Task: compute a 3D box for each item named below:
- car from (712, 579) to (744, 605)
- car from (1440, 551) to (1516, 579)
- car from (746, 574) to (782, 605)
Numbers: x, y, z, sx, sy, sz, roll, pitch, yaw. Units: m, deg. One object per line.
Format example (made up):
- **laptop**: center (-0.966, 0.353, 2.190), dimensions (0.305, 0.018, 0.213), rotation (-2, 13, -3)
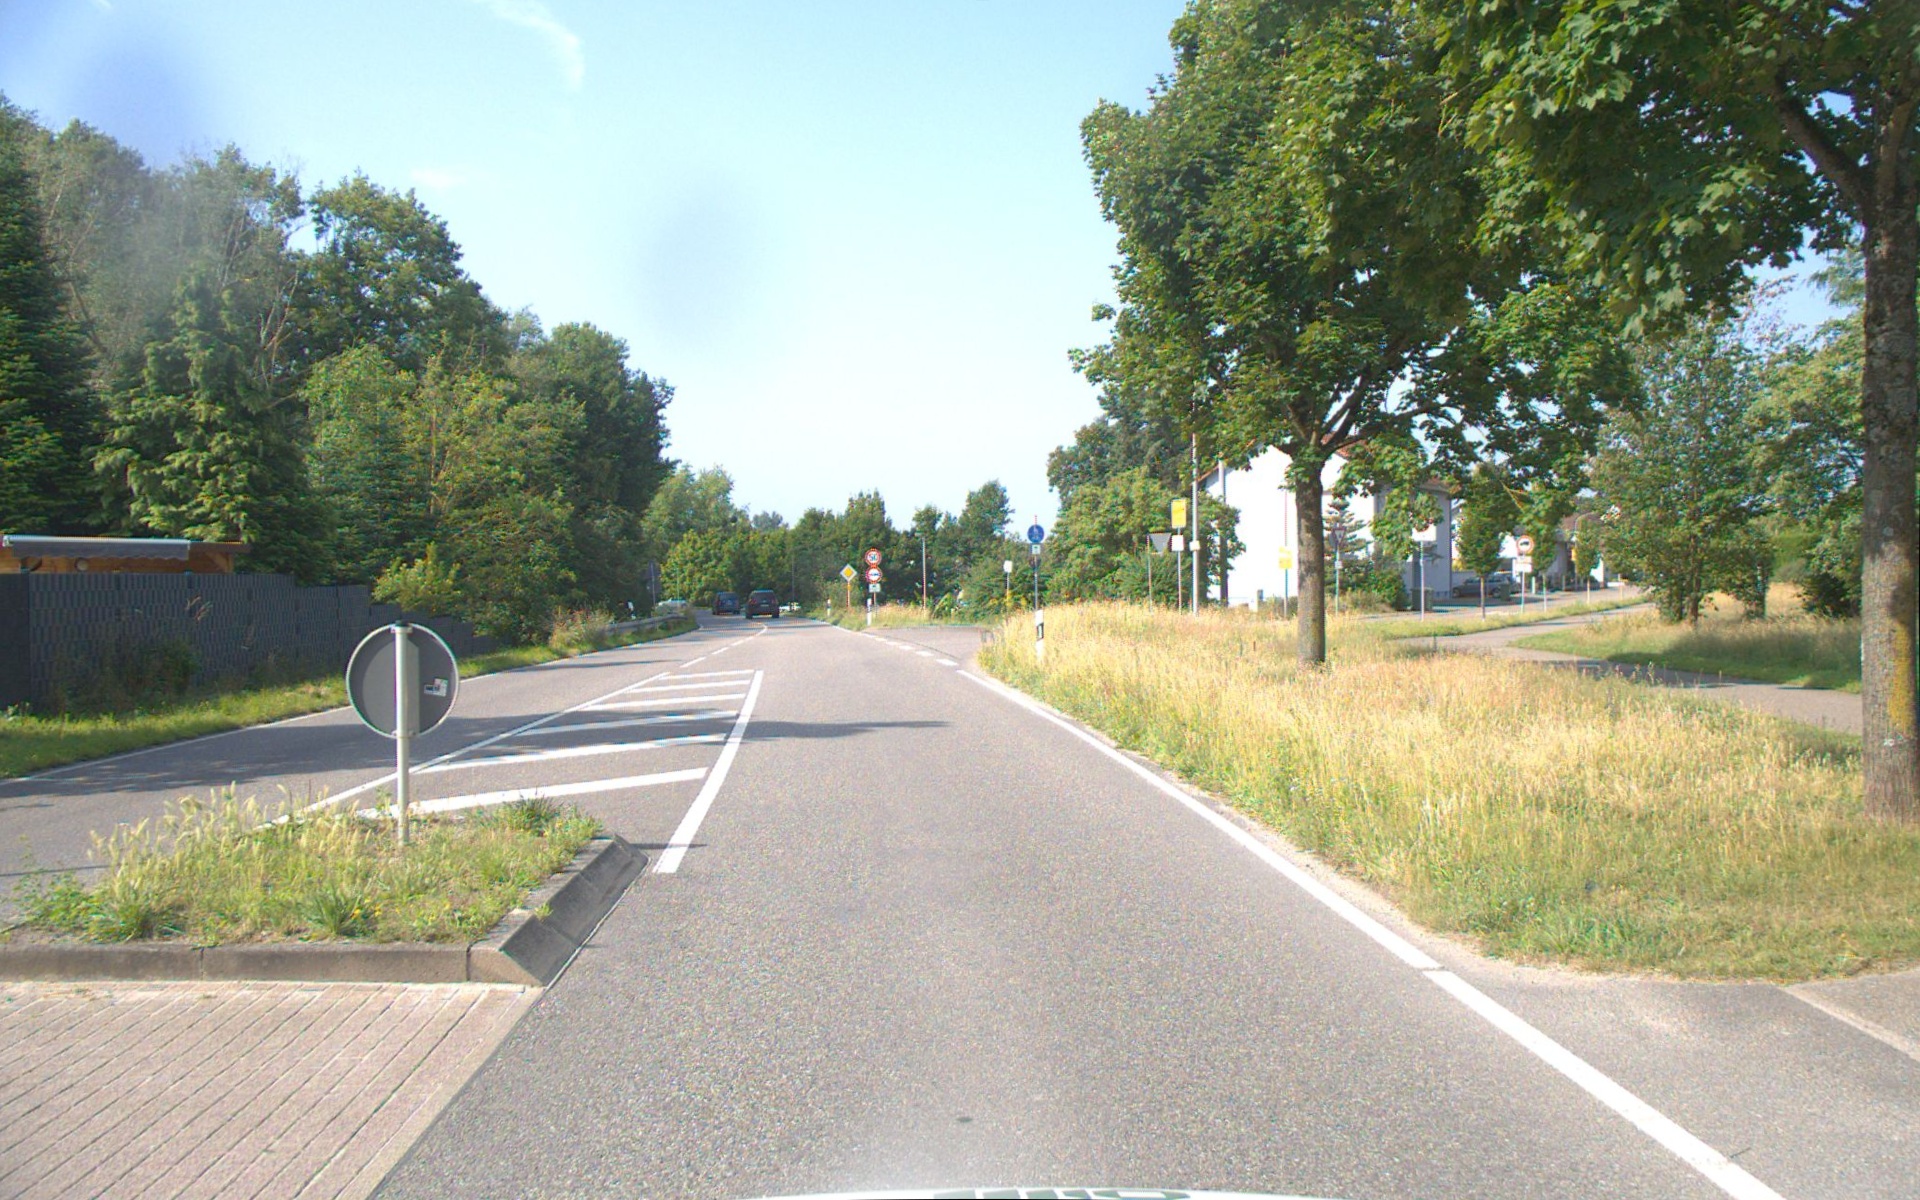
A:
- **car**: center (-17.309, -0.603, 123.309), dimensions (1.970, 1.802, 3.987), rotation (-1, 1, -13)
- **car**: center (33.353, -2.247, 106.472), dimensions (4.369, 1.728, 1.765), rotation (1, 1, 35)
- **car**: center (-12.165, -0.665, 102.631), dimensions (1.891, 1.802, 3.989), rotation (-1, 1, -12)
